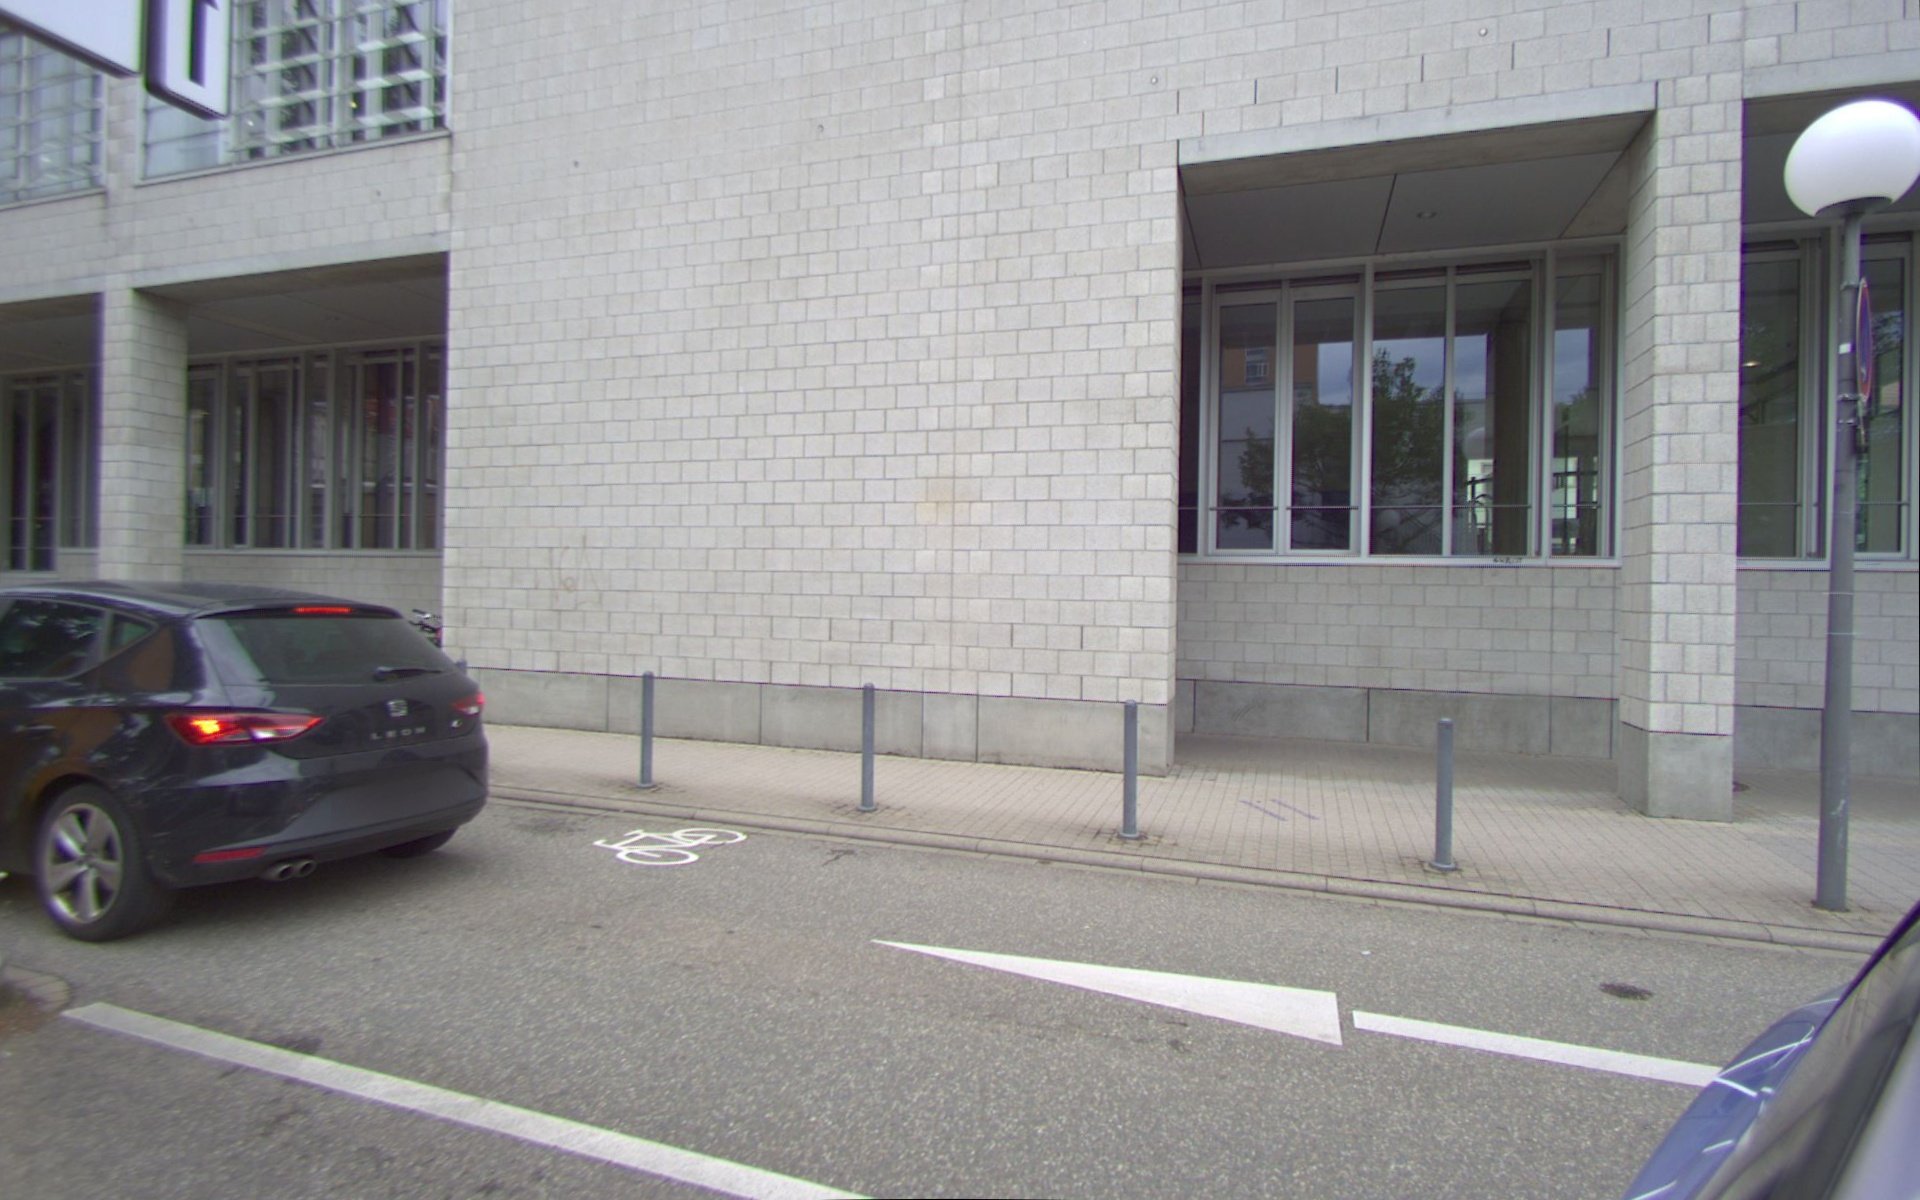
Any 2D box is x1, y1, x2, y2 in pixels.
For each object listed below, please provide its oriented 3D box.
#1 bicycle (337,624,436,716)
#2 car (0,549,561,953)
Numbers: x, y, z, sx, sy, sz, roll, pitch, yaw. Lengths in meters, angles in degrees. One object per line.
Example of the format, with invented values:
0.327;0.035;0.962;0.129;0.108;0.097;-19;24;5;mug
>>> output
-6.327;0.726;11.107;0.456;0.760;2.291;-4;5;-41;bicycle
-4.320;0.502;5.133;4.075;1.437;1.777;2;0;18;car
